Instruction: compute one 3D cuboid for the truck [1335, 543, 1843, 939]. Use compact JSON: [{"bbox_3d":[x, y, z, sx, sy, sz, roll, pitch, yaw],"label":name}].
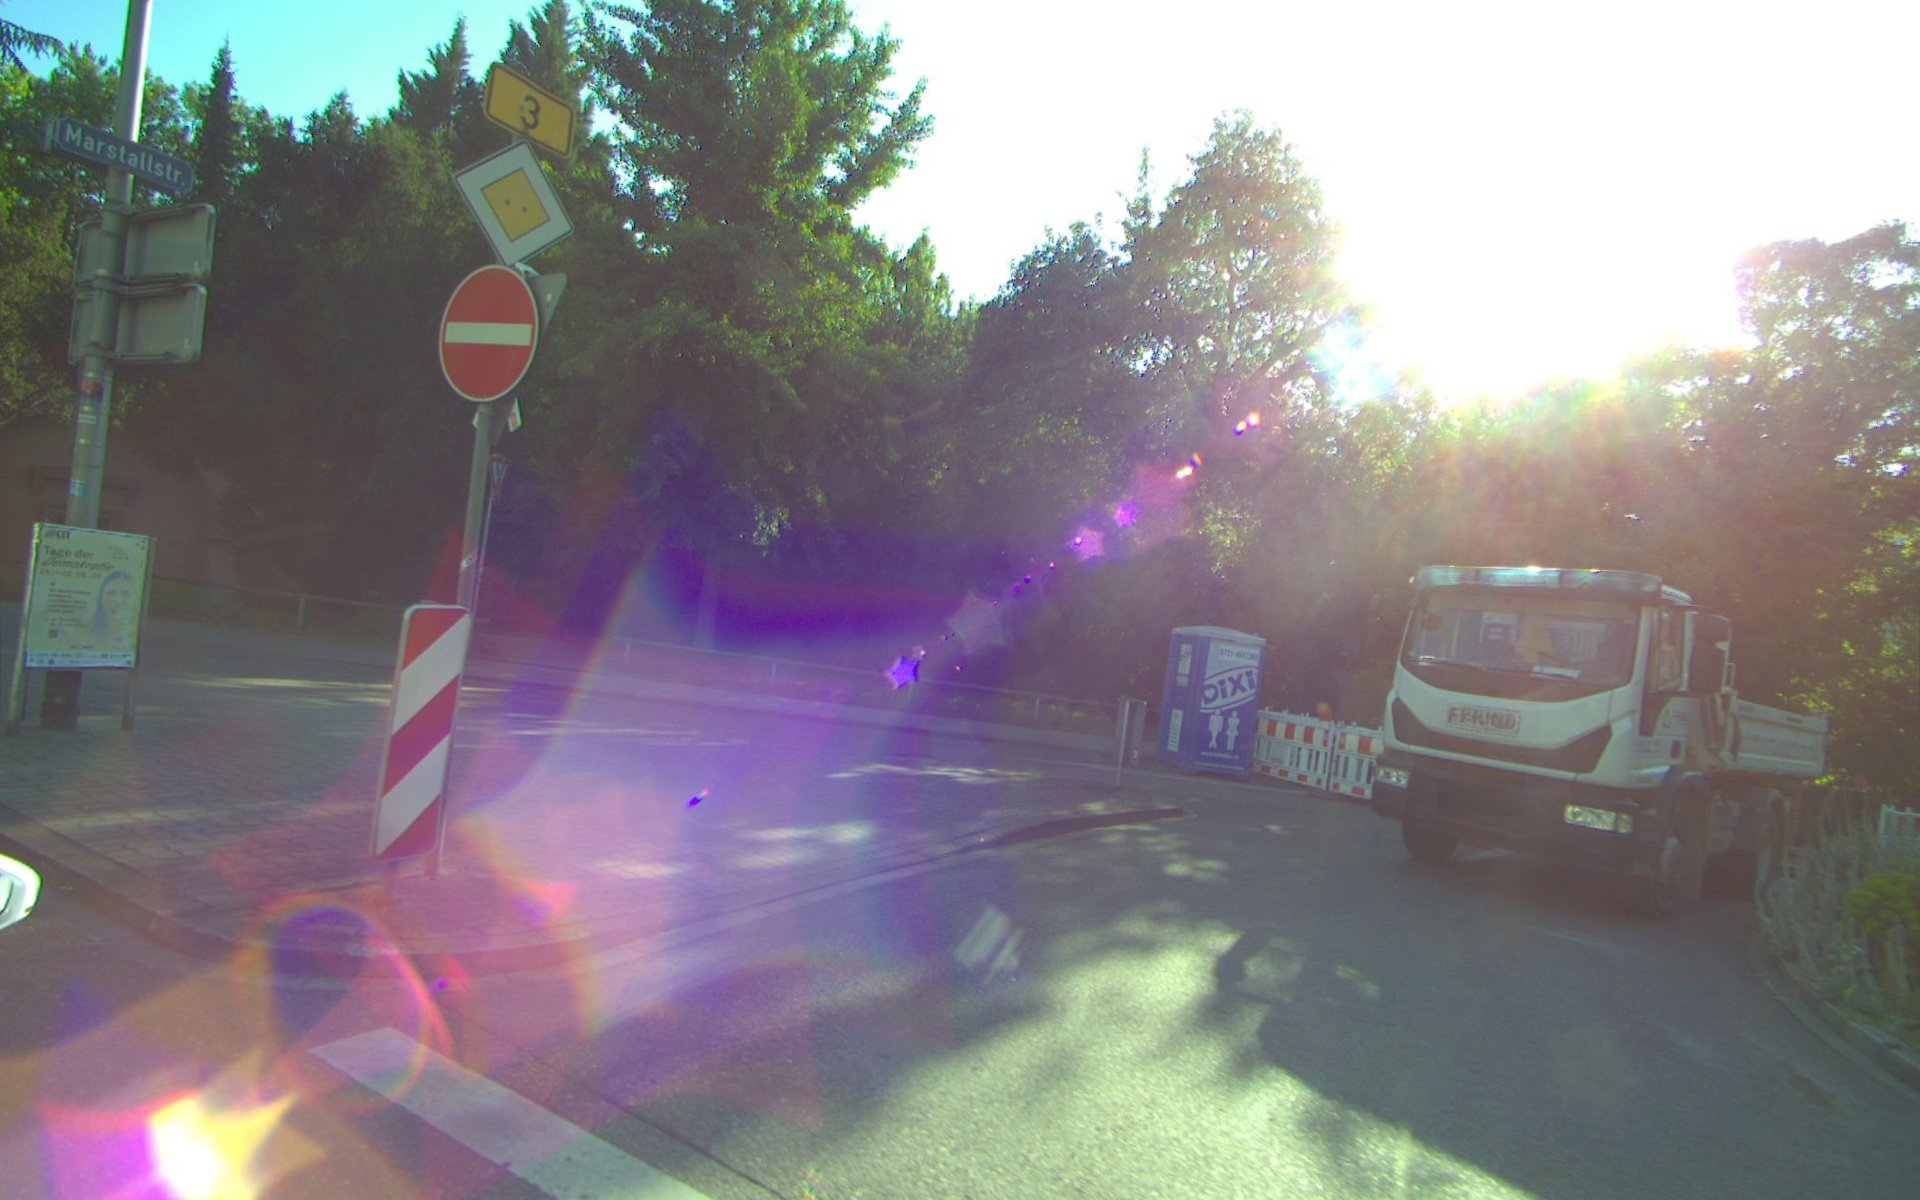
[{"bbox_3d":[6.908,1.448,10.558,6.566,2.927,2.406,10,-2,-40],"label":"truck"}]
